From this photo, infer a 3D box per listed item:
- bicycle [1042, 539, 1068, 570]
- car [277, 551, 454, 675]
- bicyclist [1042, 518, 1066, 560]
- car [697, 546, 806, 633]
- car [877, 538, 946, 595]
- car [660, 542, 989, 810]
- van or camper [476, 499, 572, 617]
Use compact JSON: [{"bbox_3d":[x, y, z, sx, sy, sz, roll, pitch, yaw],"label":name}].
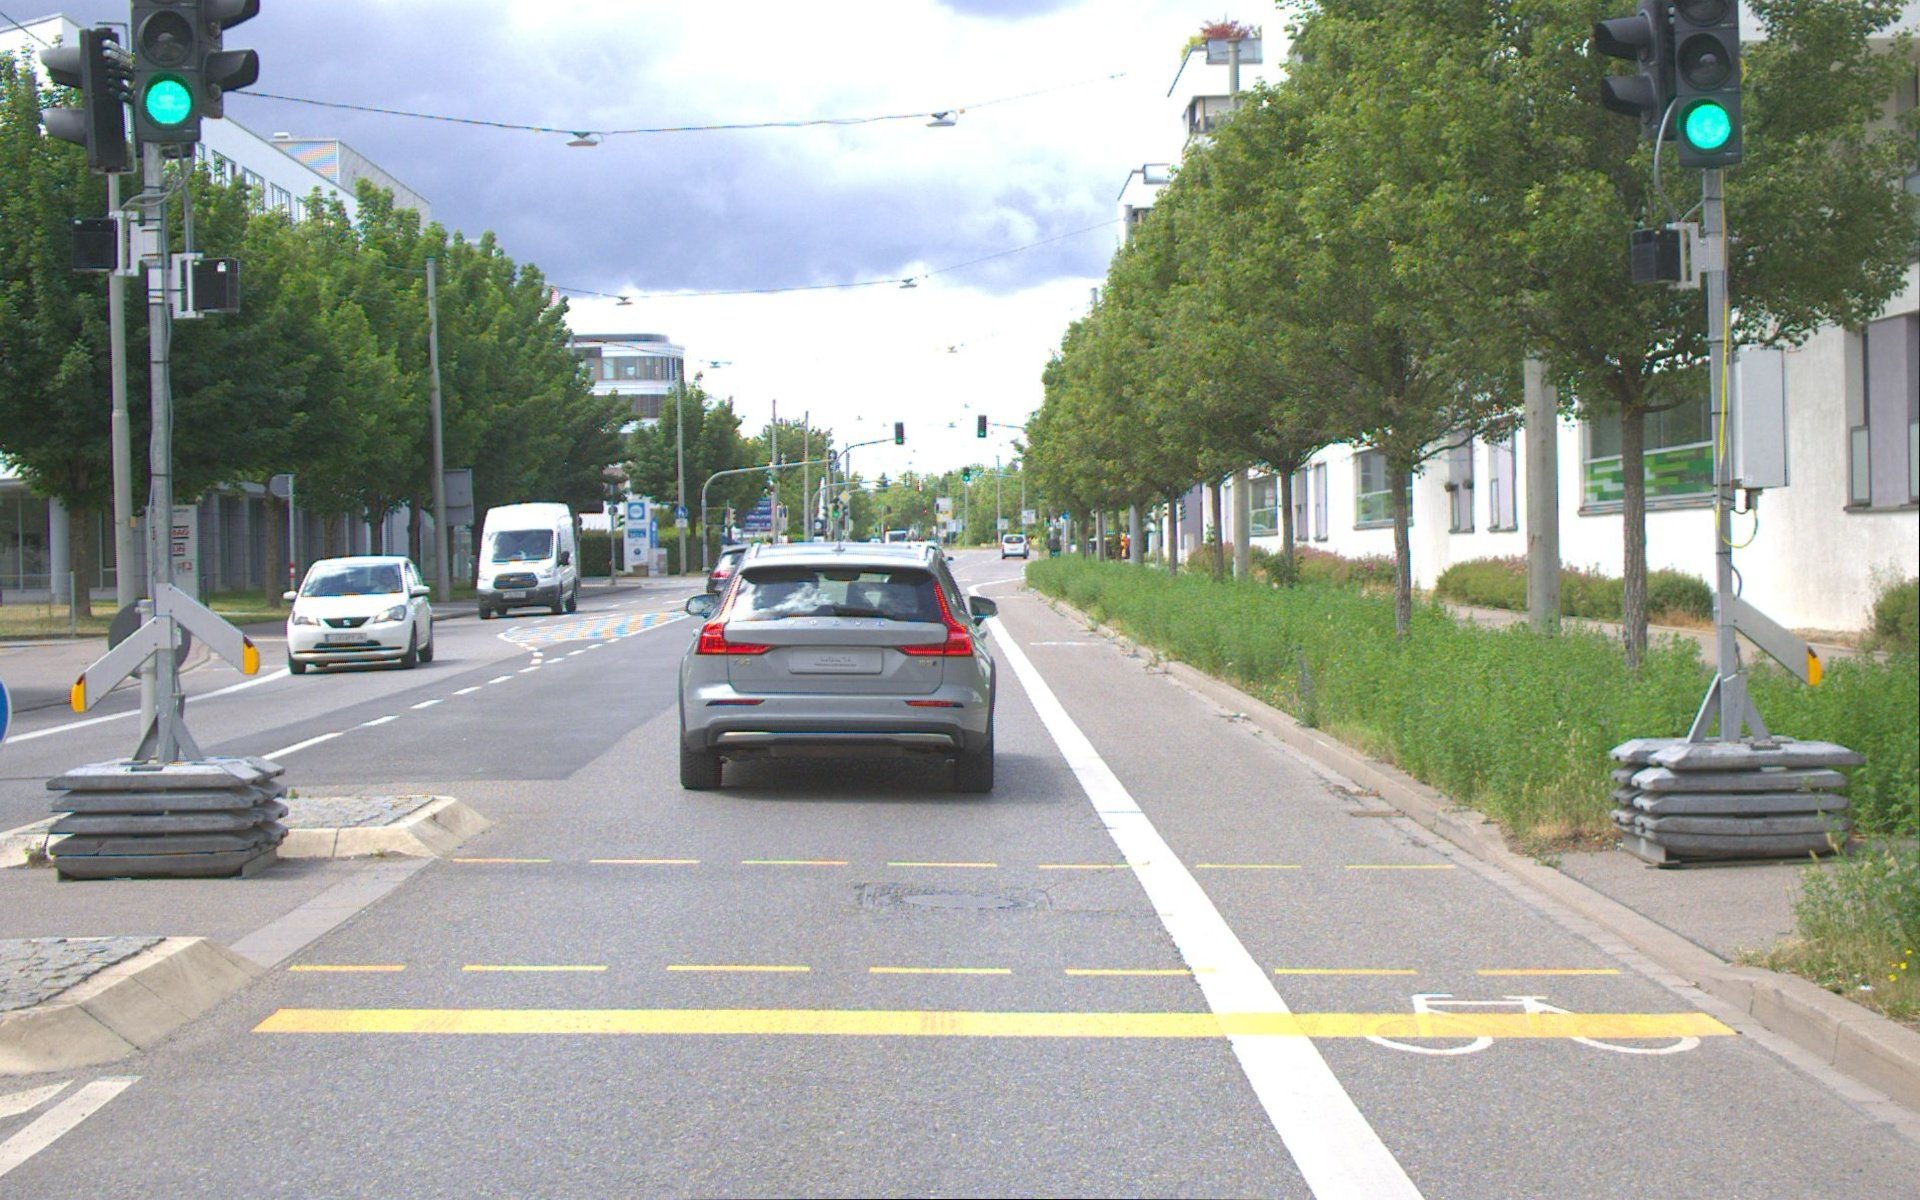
[{"bbox_3d":[4.637,-2.215,168.135,1.067,1.448,2.978,-2,1,-1],"label":"bicycle"},{"bbox_3d":[-7.834,0.132,45.623,1.661,1.510,4.000,-1,1,-1],"label":"car"},{"bbox_3d":[4.591,-2.964,168.217,1.014,2.007,1.131,-2,1,-1],"label":"bicyclist"},{"bbox_3d":[-3.827,-0.220,63.633,1.854,1.508,4.000,0,1,-1],"label":"car"},{"bbox_3d":[-1.350,-0.933,94.264,1.845,1.508,4.000,0,1,-1],"label":"car"},{"bbox_3d":[-0.775,0.396,21.337,1.854,1.508,4.000,0,1,0],"label":"car"},{"bbox_3d":[-10.685,-1.053,84.570,1.993,2.724,6.054,-2,1,-5],"label":"van or camper"}]
